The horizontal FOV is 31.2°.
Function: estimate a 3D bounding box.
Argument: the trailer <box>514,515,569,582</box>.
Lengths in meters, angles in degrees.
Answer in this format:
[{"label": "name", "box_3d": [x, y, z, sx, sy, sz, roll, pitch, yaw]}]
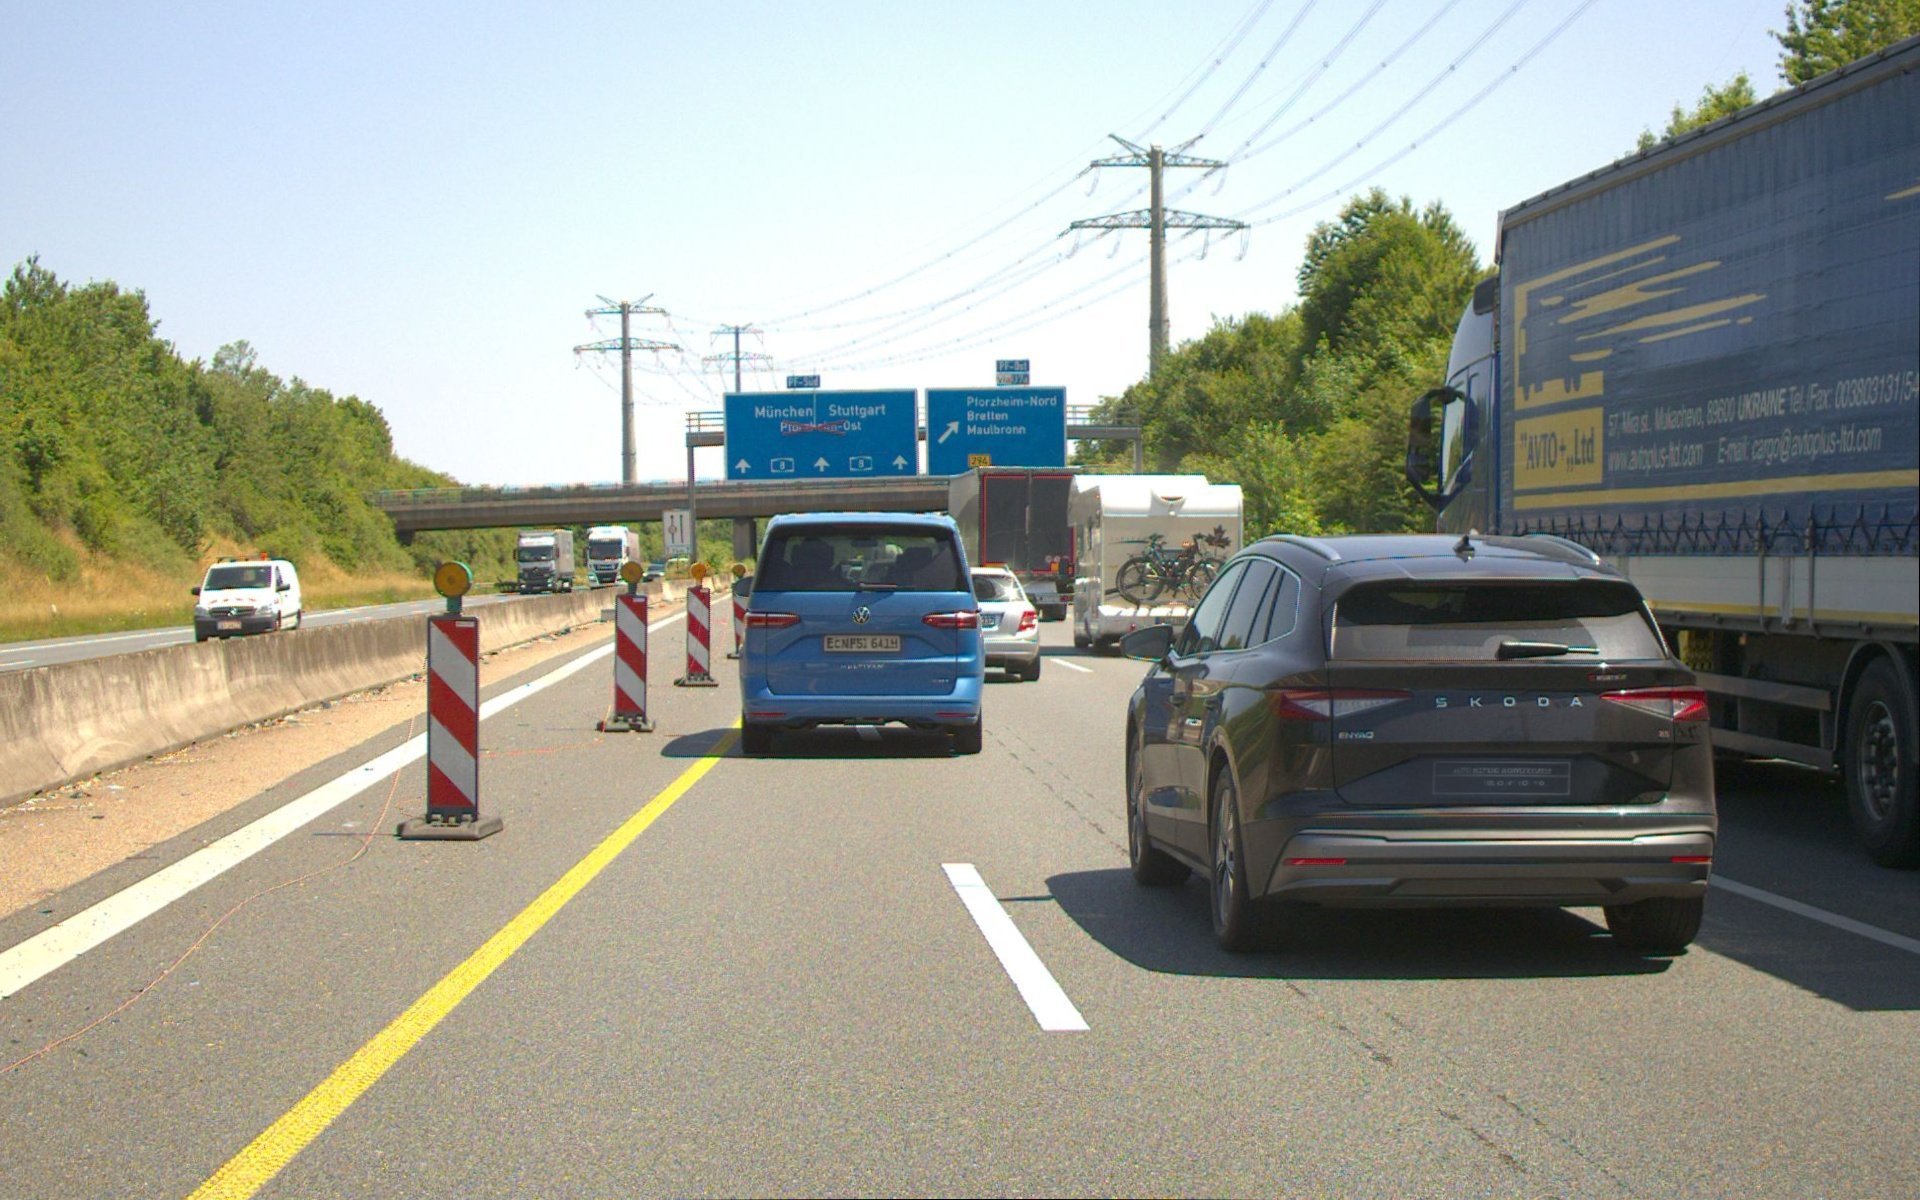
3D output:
[{"label": "trailer", "box_3d": [-27.450, -3.403, 226.073, 2.480, 4.165, 12.086, -3, 1, -3]}]

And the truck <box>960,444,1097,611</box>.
[{"label": "truck", "box_3d": [1.716, -1.877, 92.438, 3.077, 4.132, 13.055, 1, 1, -1]}]

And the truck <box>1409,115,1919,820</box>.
[{"label": "truck", "box_3d": [5.371, -0.819, 23.844, 3.024, 4.073, 7.796, 0, 1, -4]}]

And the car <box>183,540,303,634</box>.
[{"label": "car", "box_3d": [-16.577, -0.329, 79.650, 1.963, 2.078, 4.939, -1, 1, -3]}]

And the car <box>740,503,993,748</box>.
[{"label": "car", "box_3d": [-0.835, 0.209, 28.067, 1.895, 1.835, 4.443, 0, 0, -3]}]

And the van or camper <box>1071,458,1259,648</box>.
[{"label": "van or camper", "box_3d": [3.308, -0.781, 56.781, 2.586, 2.958, 6.085, 0, 1, -1]}]

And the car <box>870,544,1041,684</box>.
[{"label": "car", "box_3d": [-0.113, 0.133, 43.797, 1.895, 1.504, 4.443, 2, 2, -3]}]

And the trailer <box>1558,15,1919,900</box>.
[{"label": "trailer", "box_3d": [5.826, -0.669, 16.883, 3.065, 4.029, 11.489, 0, 1, -4]}]

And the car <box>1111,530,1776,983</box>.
[{"label": "car", "box_3d": [1.800, 0.511, 14.305, 1.895, 1.586, 4.443, 0, 1, -3]}]

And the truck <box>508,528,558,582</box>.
[{"label": "truck", "box_3d": [-27.057, -2.854, 218.054, 2.464, 3.277, 6.925, -3, 1, -3]}]

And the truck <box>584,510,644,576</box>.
[{"label": "truck", "box_3d": [-22.601, -3.693, 224.834, 3.164, 4.210, 7.415, -1, 0, -1]}]
